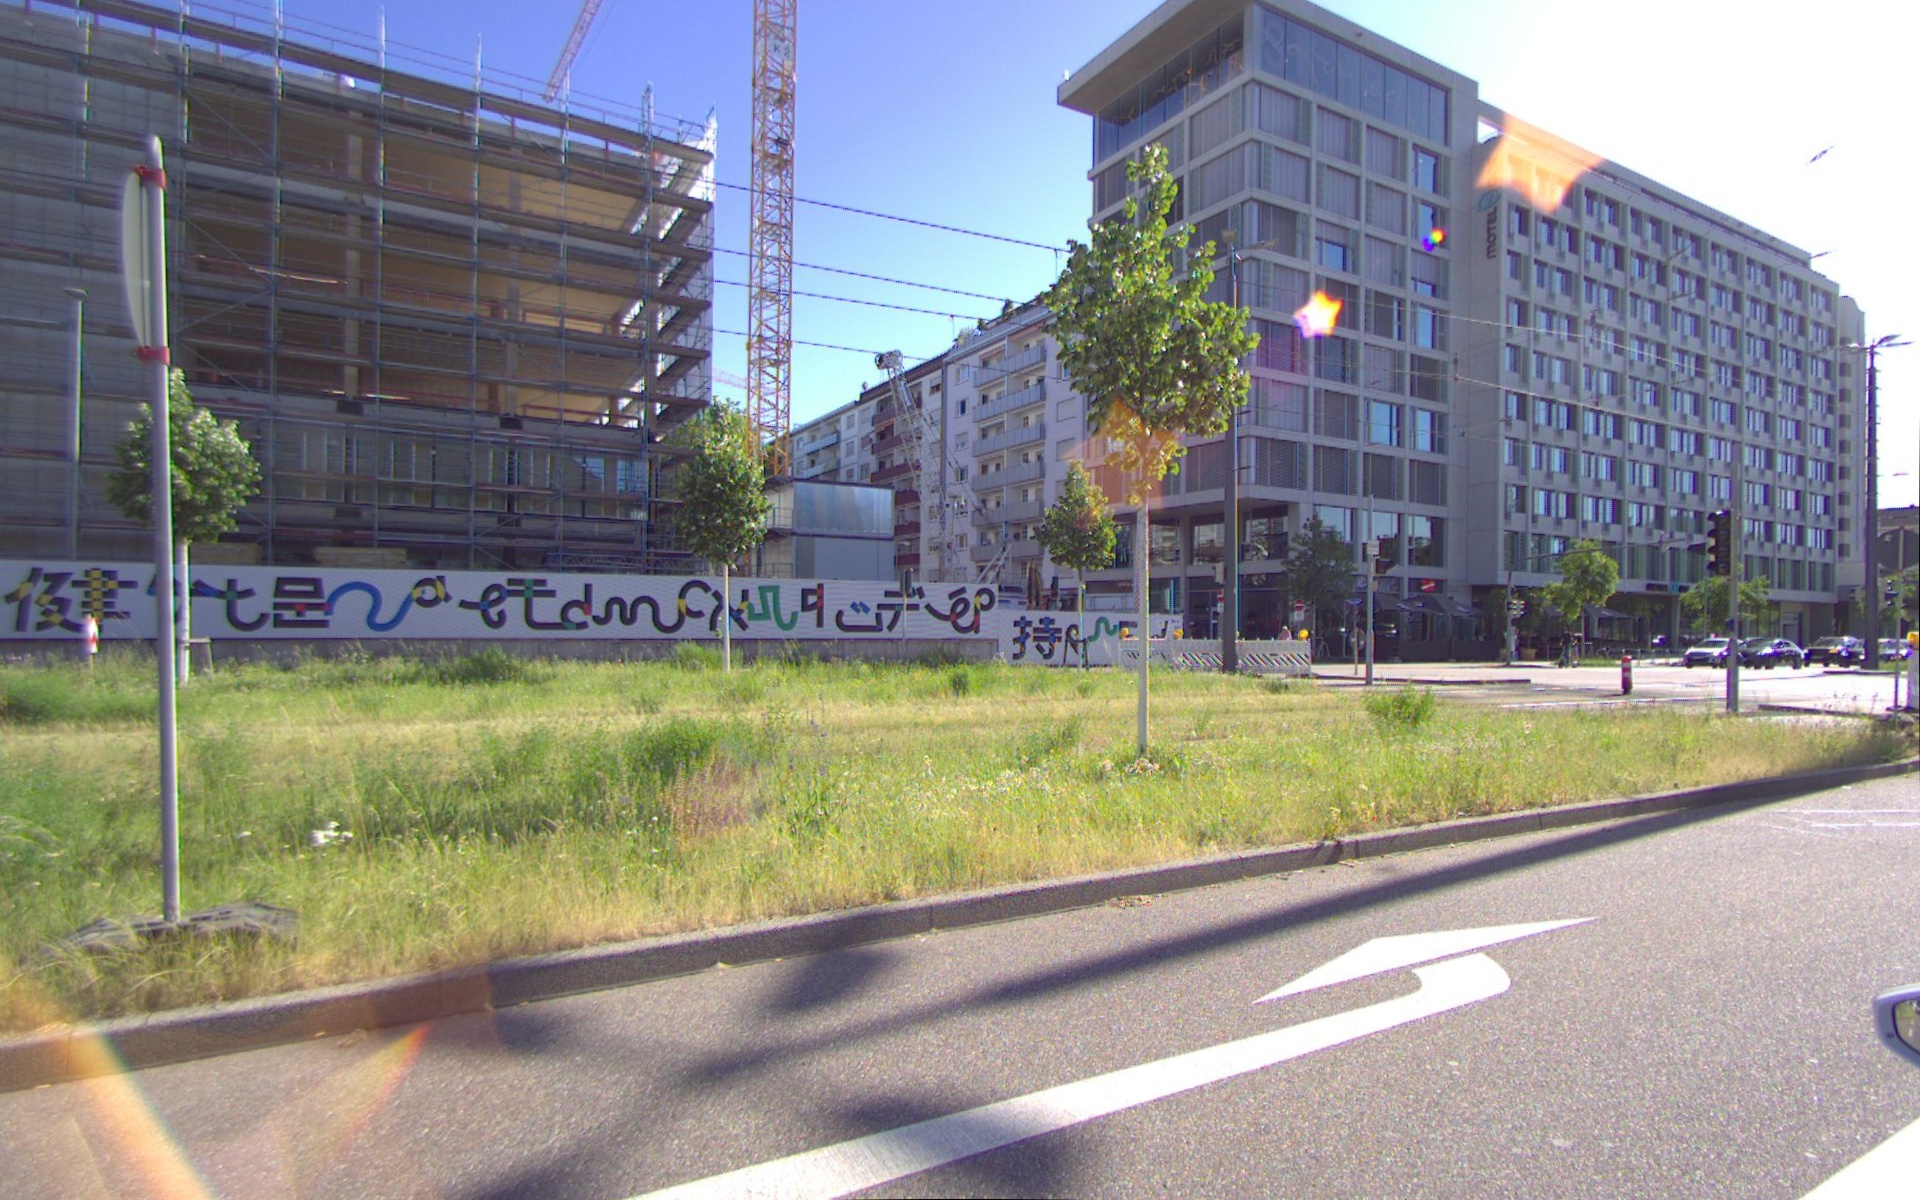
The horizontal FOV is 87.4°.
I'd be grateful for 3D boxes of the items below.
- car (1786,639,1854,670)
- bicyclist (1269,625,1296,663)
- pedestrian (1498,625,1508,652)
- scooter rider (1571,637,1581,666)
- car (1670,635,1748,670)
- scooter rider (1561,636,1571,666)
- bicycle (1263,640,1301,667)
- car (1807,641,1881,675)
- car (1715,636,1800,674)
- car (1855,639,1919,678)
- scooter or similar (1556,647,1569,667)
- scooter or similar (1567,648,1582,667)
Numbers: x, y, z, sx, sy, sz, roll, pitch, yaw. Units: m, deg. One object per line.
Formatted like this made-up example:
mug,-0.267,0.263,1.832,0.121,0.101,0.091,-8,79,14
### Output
car,49.240,3.121,57.499,3.953,1.673,1.782,2,-1,-30
bicyclist,14.032,1.930,43.723,0.881,1.601,0.591,2,0,-27
pedestrian,30.446,2.148,56.326,0.338,1.513,0.414,1,-1,-30
scooter rider,30.972,2.585,50.501,0.236,1.472,0.341,1,-1,-29
car,37.814,2.635,50.680,3.953,1.673,1.782,2,-1,-30
scooter rider,29.580,2.493,49.018,0.236,1.472,0.341,1,-1,-29
bicycle,14.013,2.330,43.753,1.601,1.115,0.584,2,0,-27
car,46.501,3.021,52.814,3.953,1.673,1.782,2,-1,-30
car,37.236,2.543,46.880,3.953,1.673,1.782,2,-1,-30
car,43.669,2.692,46.720,4.284,1.673,1.782,2,-1,-30
scooter or similar,29.460,2.784,49.111,0.758,0.960,0.227,1,-1,-30
scooter or similar,30.969,2.908,50.626,0.756,0.960,0.285,1,-1,-24
